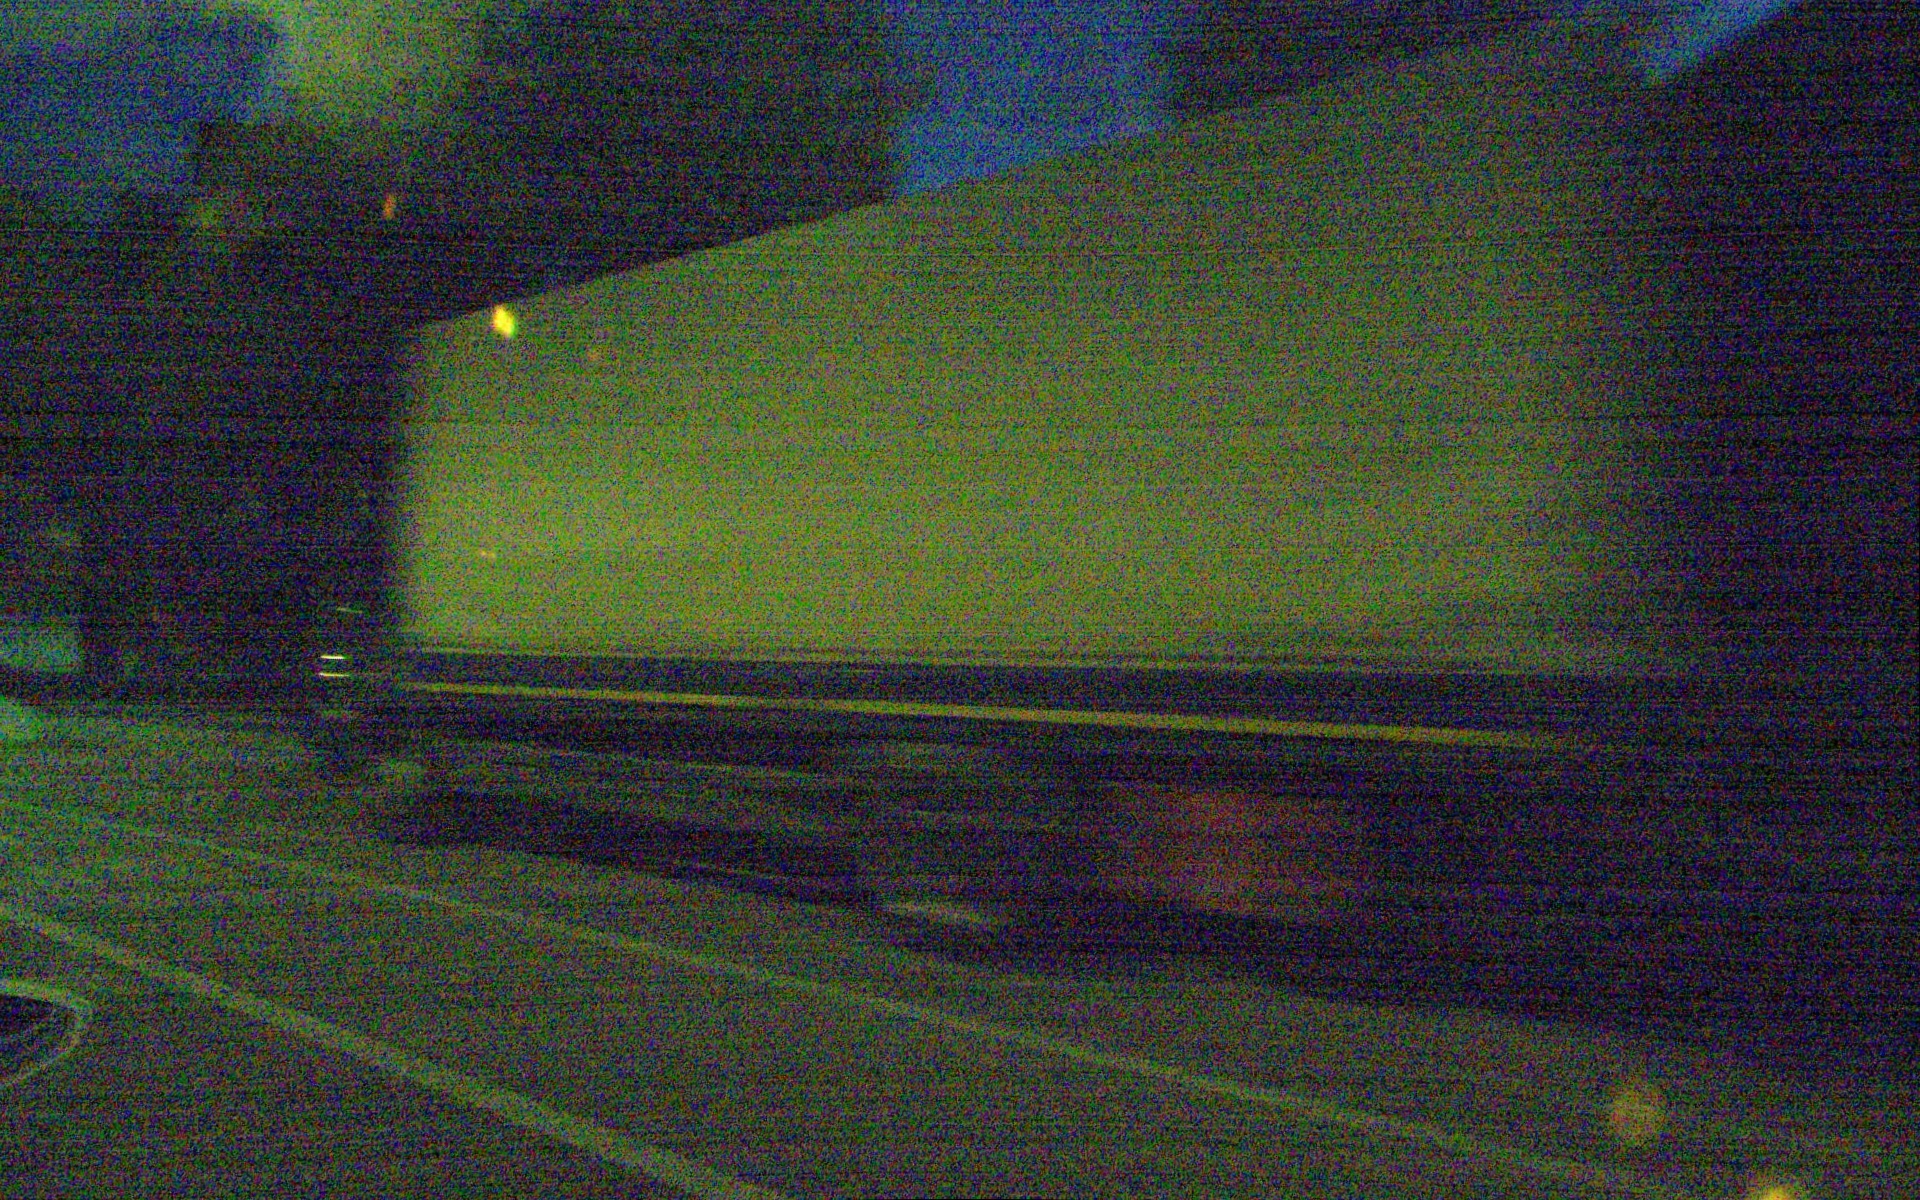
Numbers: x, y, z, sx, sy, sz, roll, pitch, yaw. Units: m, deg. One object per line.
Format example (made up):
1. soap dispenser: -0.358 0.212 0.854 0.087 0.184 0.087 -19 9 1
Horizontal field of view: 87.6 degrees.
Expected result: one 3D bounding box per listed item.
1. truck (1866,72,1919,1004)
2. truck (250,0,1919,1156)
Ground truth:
1. truck: 7.447 -0.332 1.201 9.007 3.832 2.750 -1 -1 32
2. truck: -0.707 -0.216 6.567 10.078 3.832 2.751 -1 -1 32
